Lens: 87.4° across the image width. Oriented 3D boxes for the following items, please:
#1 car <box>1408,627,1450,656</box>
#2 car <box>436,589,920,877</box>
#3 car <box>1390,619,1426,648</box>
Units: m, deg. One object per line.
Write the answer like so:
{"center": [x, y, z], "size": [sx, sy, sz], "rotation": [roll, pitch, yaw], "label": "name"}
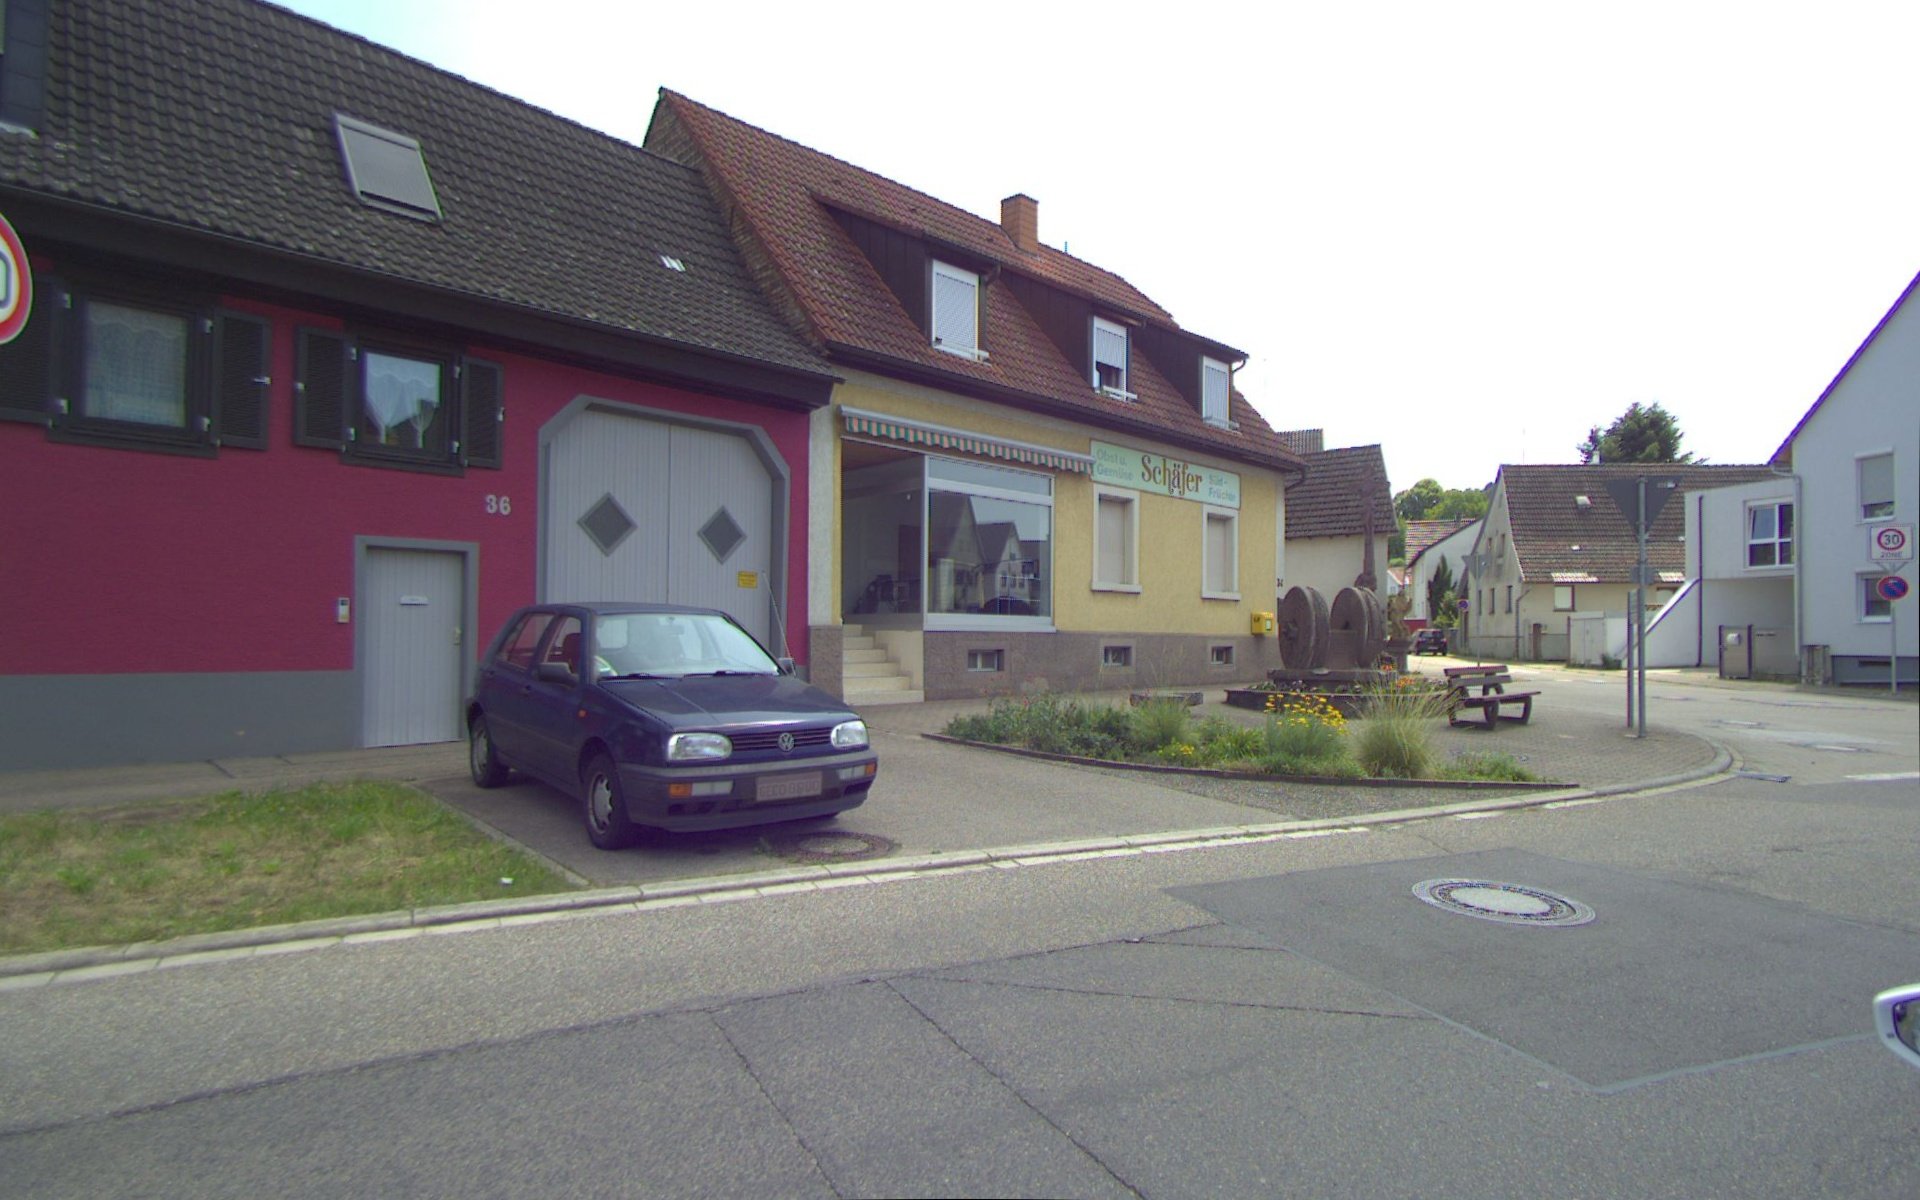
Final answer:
{"center": [26.424, 2.348, 56.686], "size": [1.461, 1.550, 3.479], "rotation": [2, -2, 13], "label": "car"}
{"center": [-2.222, 0.696, 7.198], "size": [1.709, 1.483, 3.929], "rotation": [2, -1, -43], "label": "car"}
{"center": [27.751, 2.093, 62.240], "size": [1.369, 1.656, 3.479], "rotation": [2, -2, 13], "label": "car"}
